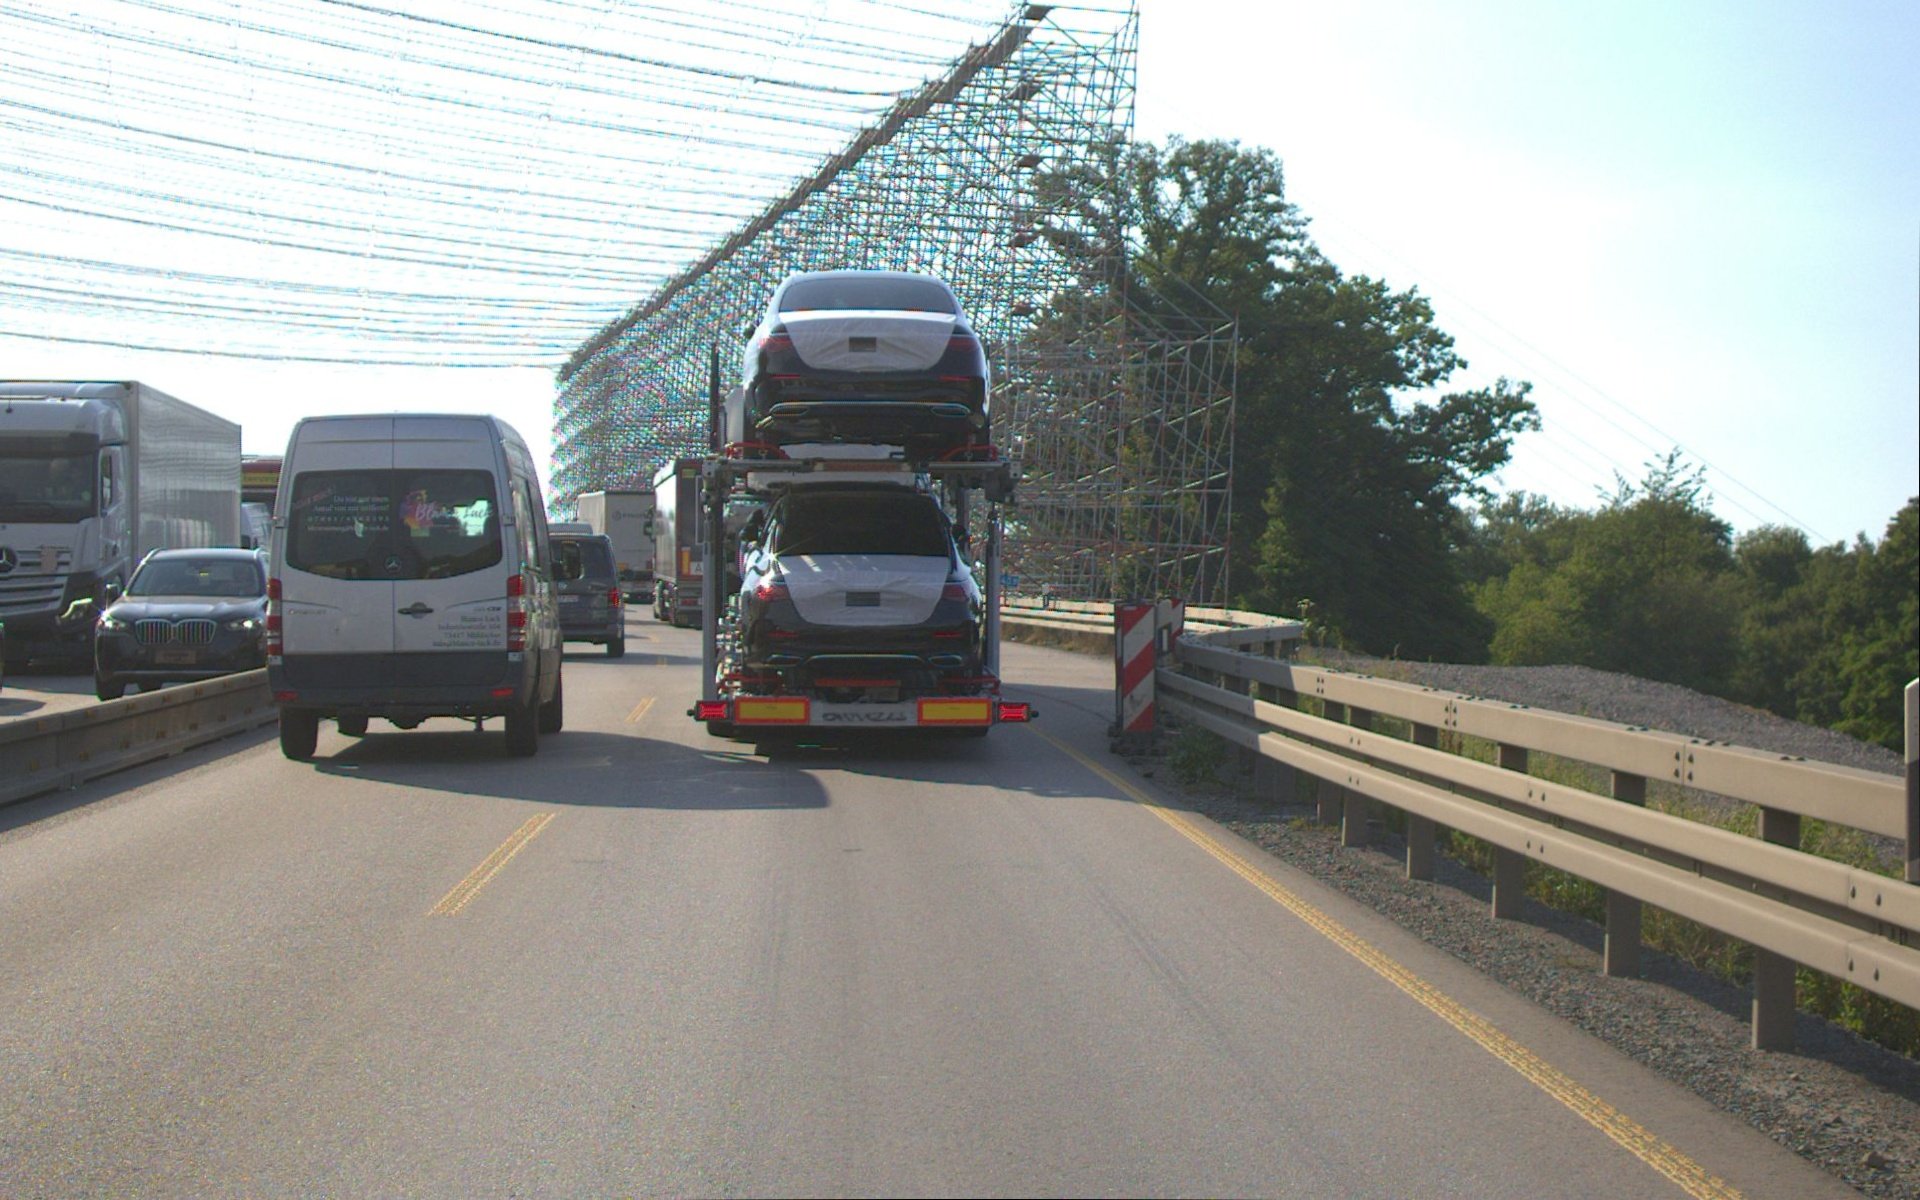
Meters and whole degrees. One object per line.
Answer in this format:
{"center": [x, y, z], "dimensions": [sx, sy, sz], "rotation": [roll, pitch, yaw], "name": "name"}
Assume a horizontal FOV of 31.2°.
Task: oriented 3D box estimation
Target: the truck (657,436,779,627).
{"center": [-6.031, -1.694, 85.480], "dimensions": [2.731, 4.370, 11.523], "rotation": [1, 1, -4], "name": "truck"}

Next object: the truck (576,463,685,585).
{"center": [-12.534, -2.864, 129.643], "dimensions": [3.686, 4.206, 13.672], "rotation": [-3, 1, -6], "name": "truck"}

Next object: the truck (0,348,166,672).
{"center": [-12.717, -1.196, 47.446], "dimensions": [2.712, 4.203, 5.683], "rotation": [0, 0, -6], "name": "truck"}

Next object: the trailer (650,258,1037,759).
{"center": [-1.219, -0.740, 33.023], "dimensions": [2.868, 3.712, 14.949], "rotation": [0, 0, -3], "name": "trailer"}

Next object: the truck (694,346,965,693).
{"center": [-1.552, -0.887, 40.348], "dimensions": [2.881, 3.690, 7.326], "rotation": [0, 0, -3], "name": "truck"}

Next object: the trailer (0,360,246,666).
{"center": [-13.372, -1.254, 54.148], "dimensions": [2.720, 4.203, 13.751], "rotation": [0, 0, -6], "name": "trailer"}

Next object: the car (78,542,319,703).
{"center": [-8.445, 0.193, 38.521], "dimensions": [1.817, 1.573, 4.756], "rotation": [-2, 2, -3], "name": "car"}

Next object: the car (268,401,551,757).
{"center": [-4.293, -0.164, 27.351], "dimensions": [1.956, 2.612, 4.001], "rotation": [-1, 0, -6], "name": "car"}

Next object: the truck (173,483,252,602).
{"center": [-27.104, -2.069, 124.507], "dimensions": [2.661, 4.215, 6.106], "rotation": [0, 1, -14], "name": "truck"}

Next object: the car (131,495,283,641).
{"center": [-14.668, -0.690, 67.312], "dimensions": [2.021, 2.681, 6.951], "rotation": [1, 1, -5], "name": "car"}

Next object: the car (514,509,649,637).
{"center": [-6.240, -0.435, 56.343], "dimensions": [1.993, 2.007, 4.001], "rotation": [1, 0, -9], "name": "car"}

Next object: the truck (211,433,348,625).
{"center": [-15.755, -1.607, 79.904], "dimensions": [2.744, 4.285, 5.935], "rotation": [0, 0, -7], "name": "truck"}

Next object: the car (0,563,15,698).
{"center": [-11.124, 0.344, 35.415], "dimensions": [1.743, 1.455, 4.714], "rotation": [0, 0, -3], "name": "car"}
